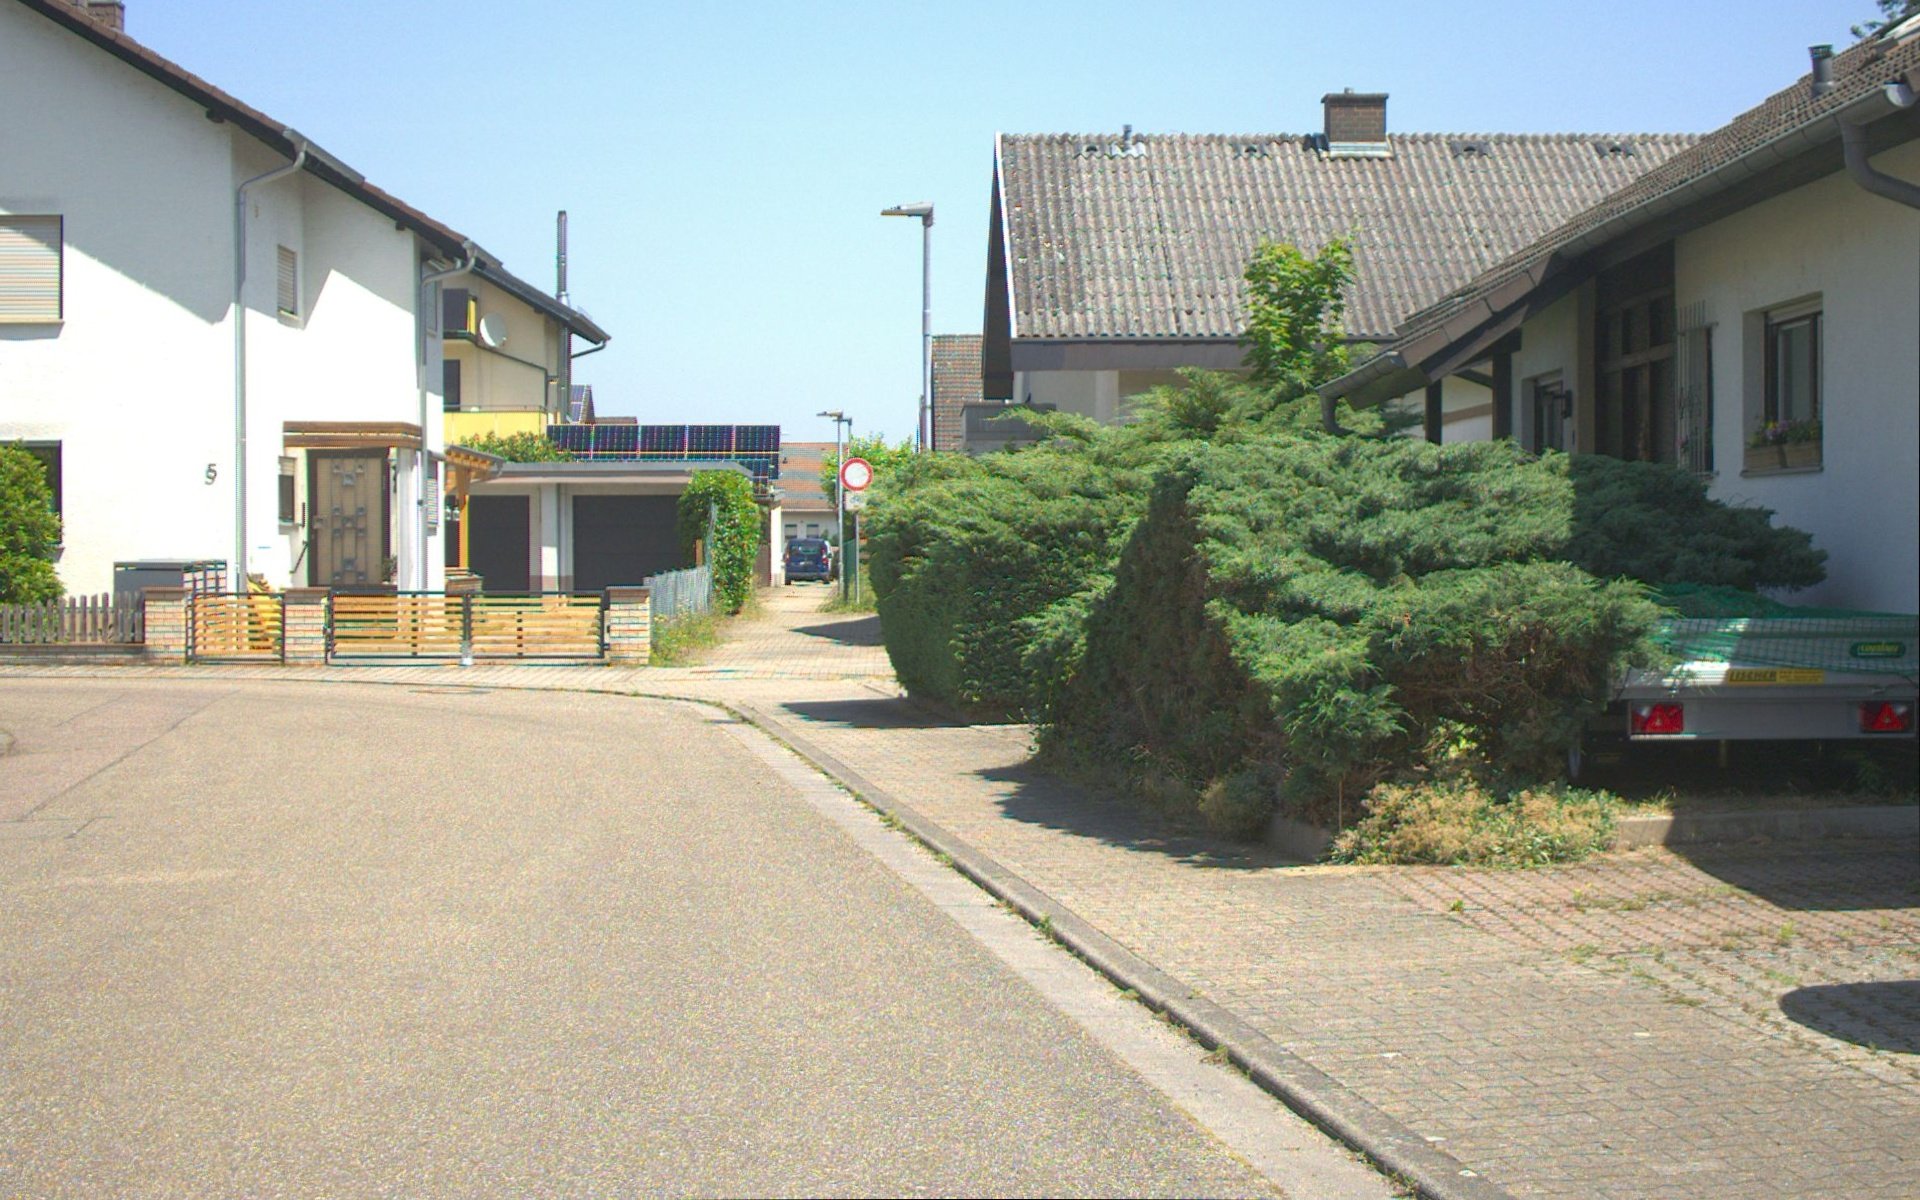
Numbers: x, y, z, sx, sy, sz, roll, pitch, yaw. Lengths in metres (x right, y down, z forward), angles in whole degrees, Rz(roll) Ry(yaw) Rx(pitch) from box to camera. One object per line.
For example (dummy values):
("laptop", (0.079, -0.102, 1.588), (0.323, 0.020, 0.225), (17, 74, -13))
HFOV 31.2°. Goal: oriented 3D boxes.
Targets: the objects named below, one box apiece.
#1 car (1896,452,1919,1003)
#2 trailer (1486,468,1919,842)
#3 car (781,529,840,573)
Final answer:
("car", (5.222, 0.343, 9.777), (4.627, 1.696, 1.709), (-2, 1, 2))
("trailer", (3.738, 0.203, 17.343), (1.587, 1.666, 3.297), (-2, 2, -1))
("car", (-5.883, -1.949, 135.282), (2.193, 1.695, 3.807), (0, 1, -1))
